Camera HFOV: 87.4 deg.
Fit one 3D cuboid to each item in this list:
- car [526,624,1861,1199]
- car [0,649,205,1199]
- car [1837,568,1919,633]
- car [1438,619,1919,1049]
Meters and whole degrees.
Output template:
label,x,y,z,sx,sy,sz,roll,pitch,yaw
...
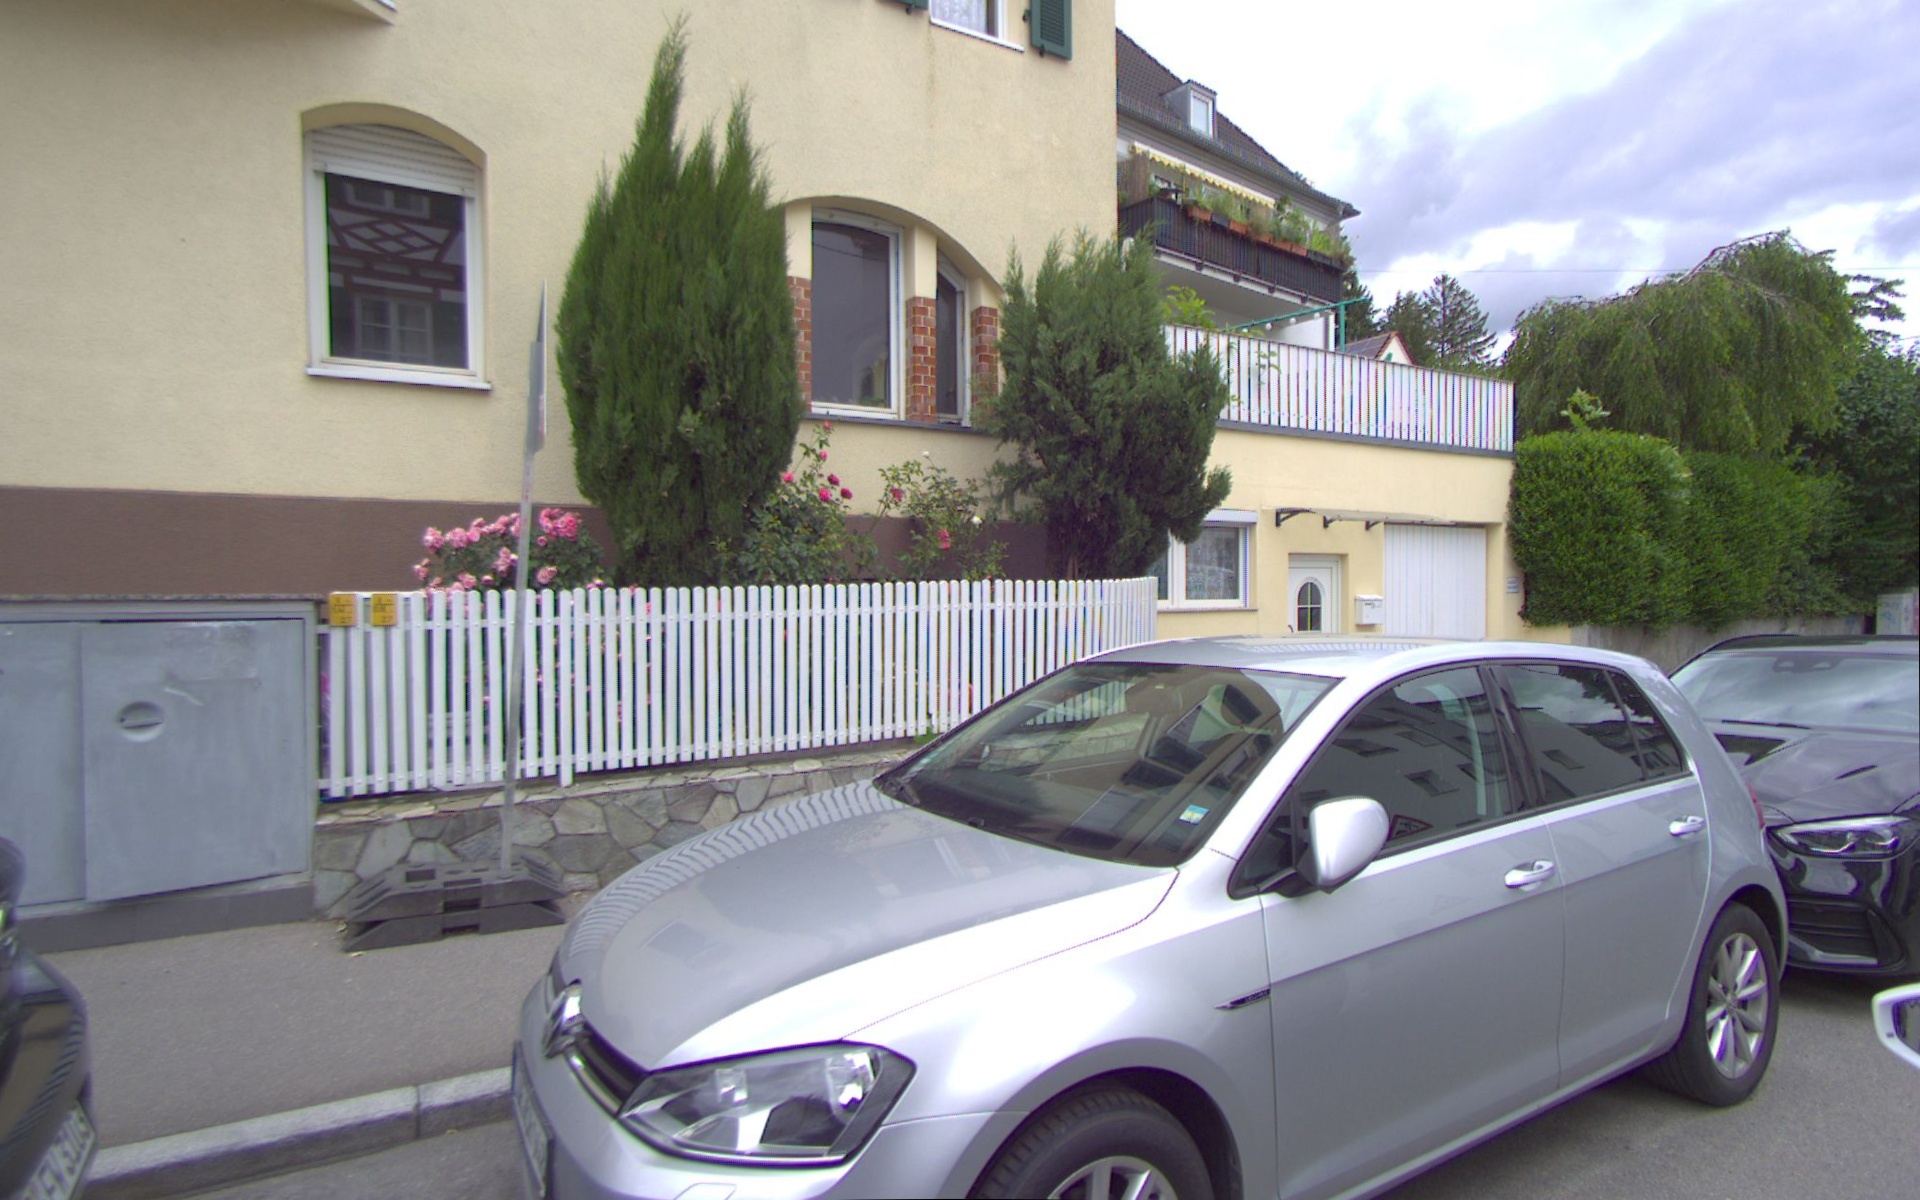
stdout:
label,x,y,z,sx,sy,sz,roll,pitch,yaw
car,0.967,0.815,3.120,4.076,1.447,1.630,1,-2,-31
car,-3.041,0.757,0.830,3.661,1.417,1.630,2,-3,-31
car,26.966,0.044,27.199,4.423,1.678,1.835,2,3,12
car,4.723,0.871,5.456,4.279,1.500,1.793,1,0,-31
